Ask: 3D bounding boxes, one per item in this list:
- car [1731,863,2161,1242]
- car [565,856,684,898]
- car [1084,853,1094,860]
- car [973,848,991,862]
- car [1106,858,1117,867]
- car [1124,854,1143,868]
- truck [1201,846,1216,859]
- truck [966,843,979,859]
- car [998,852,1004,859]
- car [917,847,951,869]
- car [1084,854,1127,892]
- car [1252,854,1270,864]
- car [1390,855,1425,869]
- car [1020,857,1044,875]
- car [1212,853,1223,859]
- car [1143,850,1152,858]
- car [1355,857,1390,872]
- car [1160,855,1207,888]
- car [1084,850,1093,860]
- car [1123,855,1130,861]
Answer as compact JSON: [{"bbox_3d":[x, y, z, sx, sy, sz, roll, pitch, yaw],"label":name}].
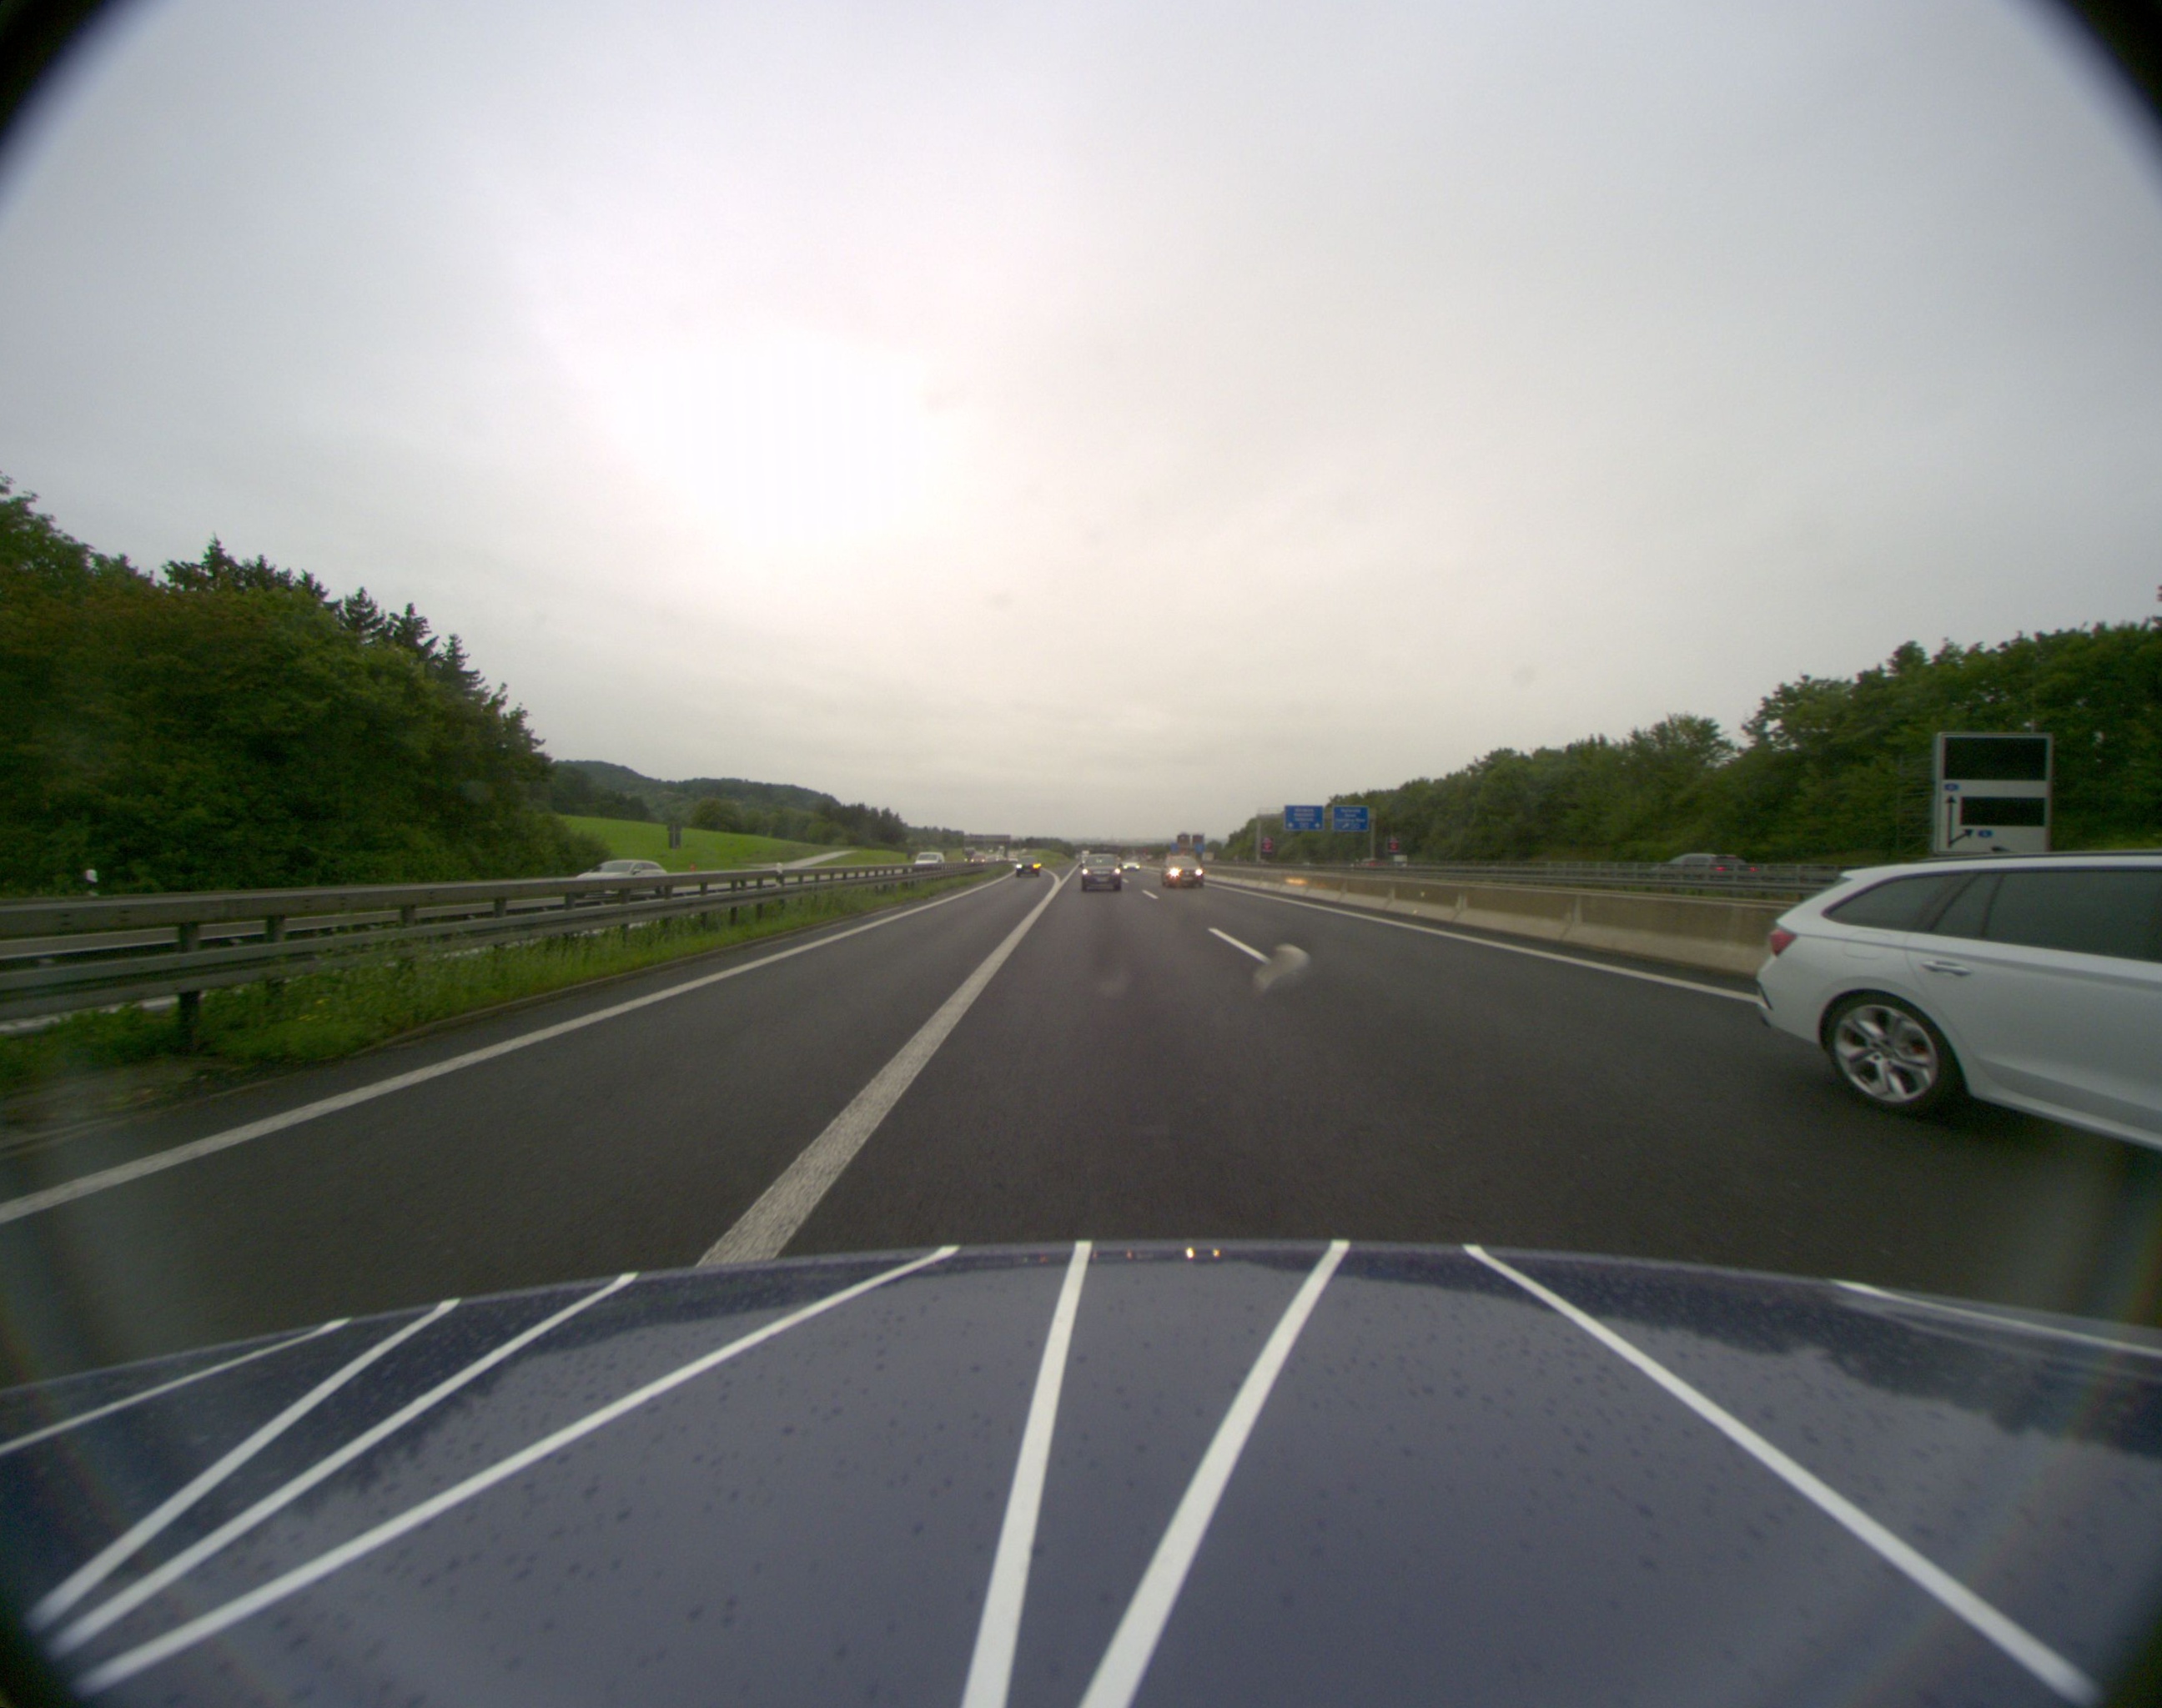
[{"bbox_3d":[5.232,0.818,2.694,1.823,1.448,4.777,-1,0,1],"label":"car"},{"bbox_3d":[-17.889,0.855,30.082,1.904,1.446,4.709,-1,0,-1],"label":"car"},{"bbox_3d":[1.618,0.561,160.600,1.919,1.481,4.566,-1,0,-1],"label":"car"},{"bbox_3d":[-14.539,0.113,112.285,2.130,2.002,5.075,-1,1,-2],"label":"car"},{"bbox_3d":[5.384,1.496,134.891,1.726,1.481,4.566,-1,0,-1],"label":"car"},{"bbox_3d":[5.763,0.776,83.677,1.726,1.481,4.566,-1,0,0],"label":"car"},{"bbox_3d":[38.659,-0.460,231.325,3.082,3.856,9.634,-1,1,1],"label":"truck"},{"bbox_3d":[-27.231,-0.811,190.062,2.801,3.878,10.019,-1,1,-9],"label":"truck"},{"bbox_3d":[-26.487,0.515,251.172,1.752,2.002,4.496,-1,1,-5],"label":"car"},{"bbox_3d":[-11.821,0.310,61.482,1.914,1.684,4.718,-1,1,-1],"label":"car"},{"bbox_3d":[1.061,0.826,34.768,1.813,1.571,3.834,-1,1,0],"label":"car"},{"bbox_3d":[29.308,0.795,123.870,1.823,1.448,4.268,-1,1,-1],"label":"car"},{"bbox_3d":[36.814,0.883,85.778,1.823,1.448,4.777,-1,0,-1],"label":"car"},{"bbox_3d":[-4.083,0.989,64.158,1.867,1.349,4.566,-1,0,-2],"label":"car"},{"bbox_3d":[33.366,0.433,186.397,1.823,1.484,4.474,-1,1,-1],"label":"car"},{"bbox_3d":[17.726,0.090,201.973,1.998,2.002,4.982,-1,1,0],"label":"car"},{"bbox_3d":[30.260,1.034,78.983,1.823,1.448,4.567,-1,0,-2],"label":"car"},{"bbox_3d":[4.988,0.810,37.559,1.725,1.481,4.567,-1,0,1],"label":"car"},{"bbox_3d":[1.641,0.239,167.075,2.016,1.994,4.566,-1,1,-1],"label":"car"},{"bbox_3d":[14.705,1.354,245.226,1.998,2.002,4.982,-1,1,0],"label":"car"}]
